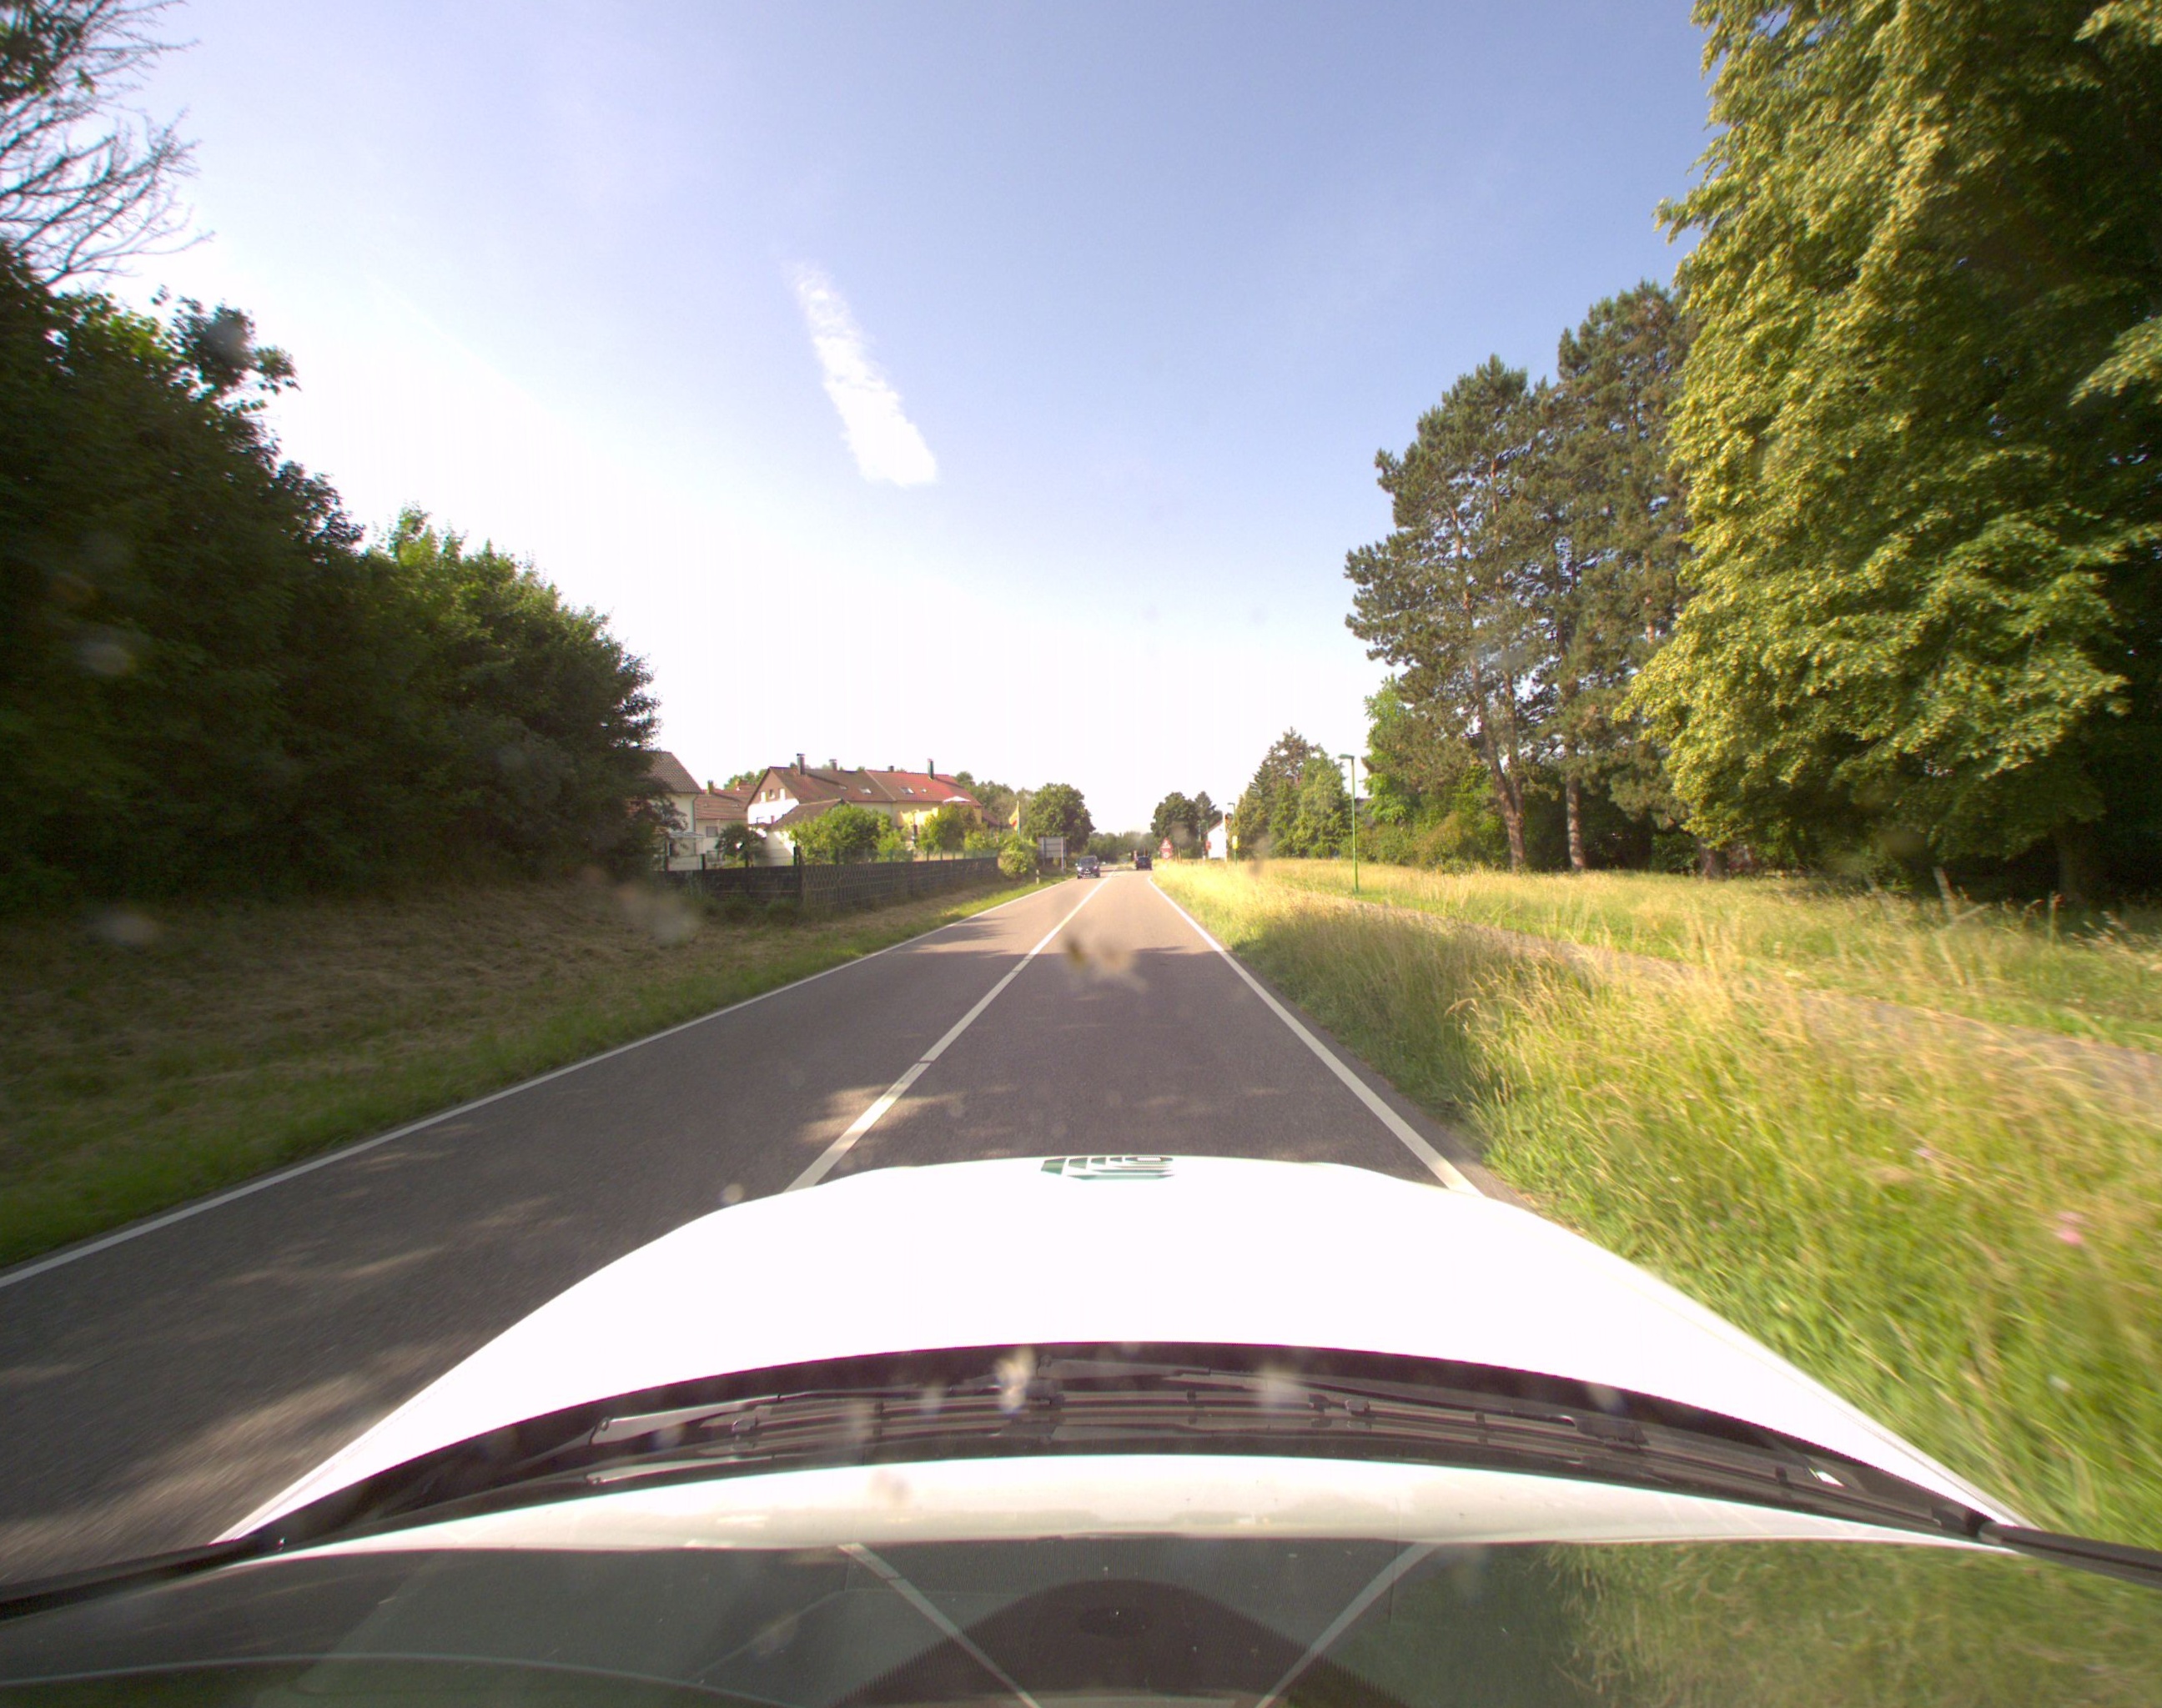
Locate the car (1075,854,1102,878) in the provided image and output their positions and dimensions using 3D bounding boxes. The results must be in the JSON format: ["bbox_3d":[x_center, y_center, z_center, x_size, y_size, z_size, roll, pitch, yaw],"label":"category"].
[{"bbox_3d":[0.635,0.976,66.854,1.932,1.817,4.244,-4,0,2],"label":"car"}]

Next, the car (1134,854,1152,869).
[{"bbox_3d":[7.743,0.905,101.782,1.918,1.771,4.001,-2,0,1],"label":"car"}]
